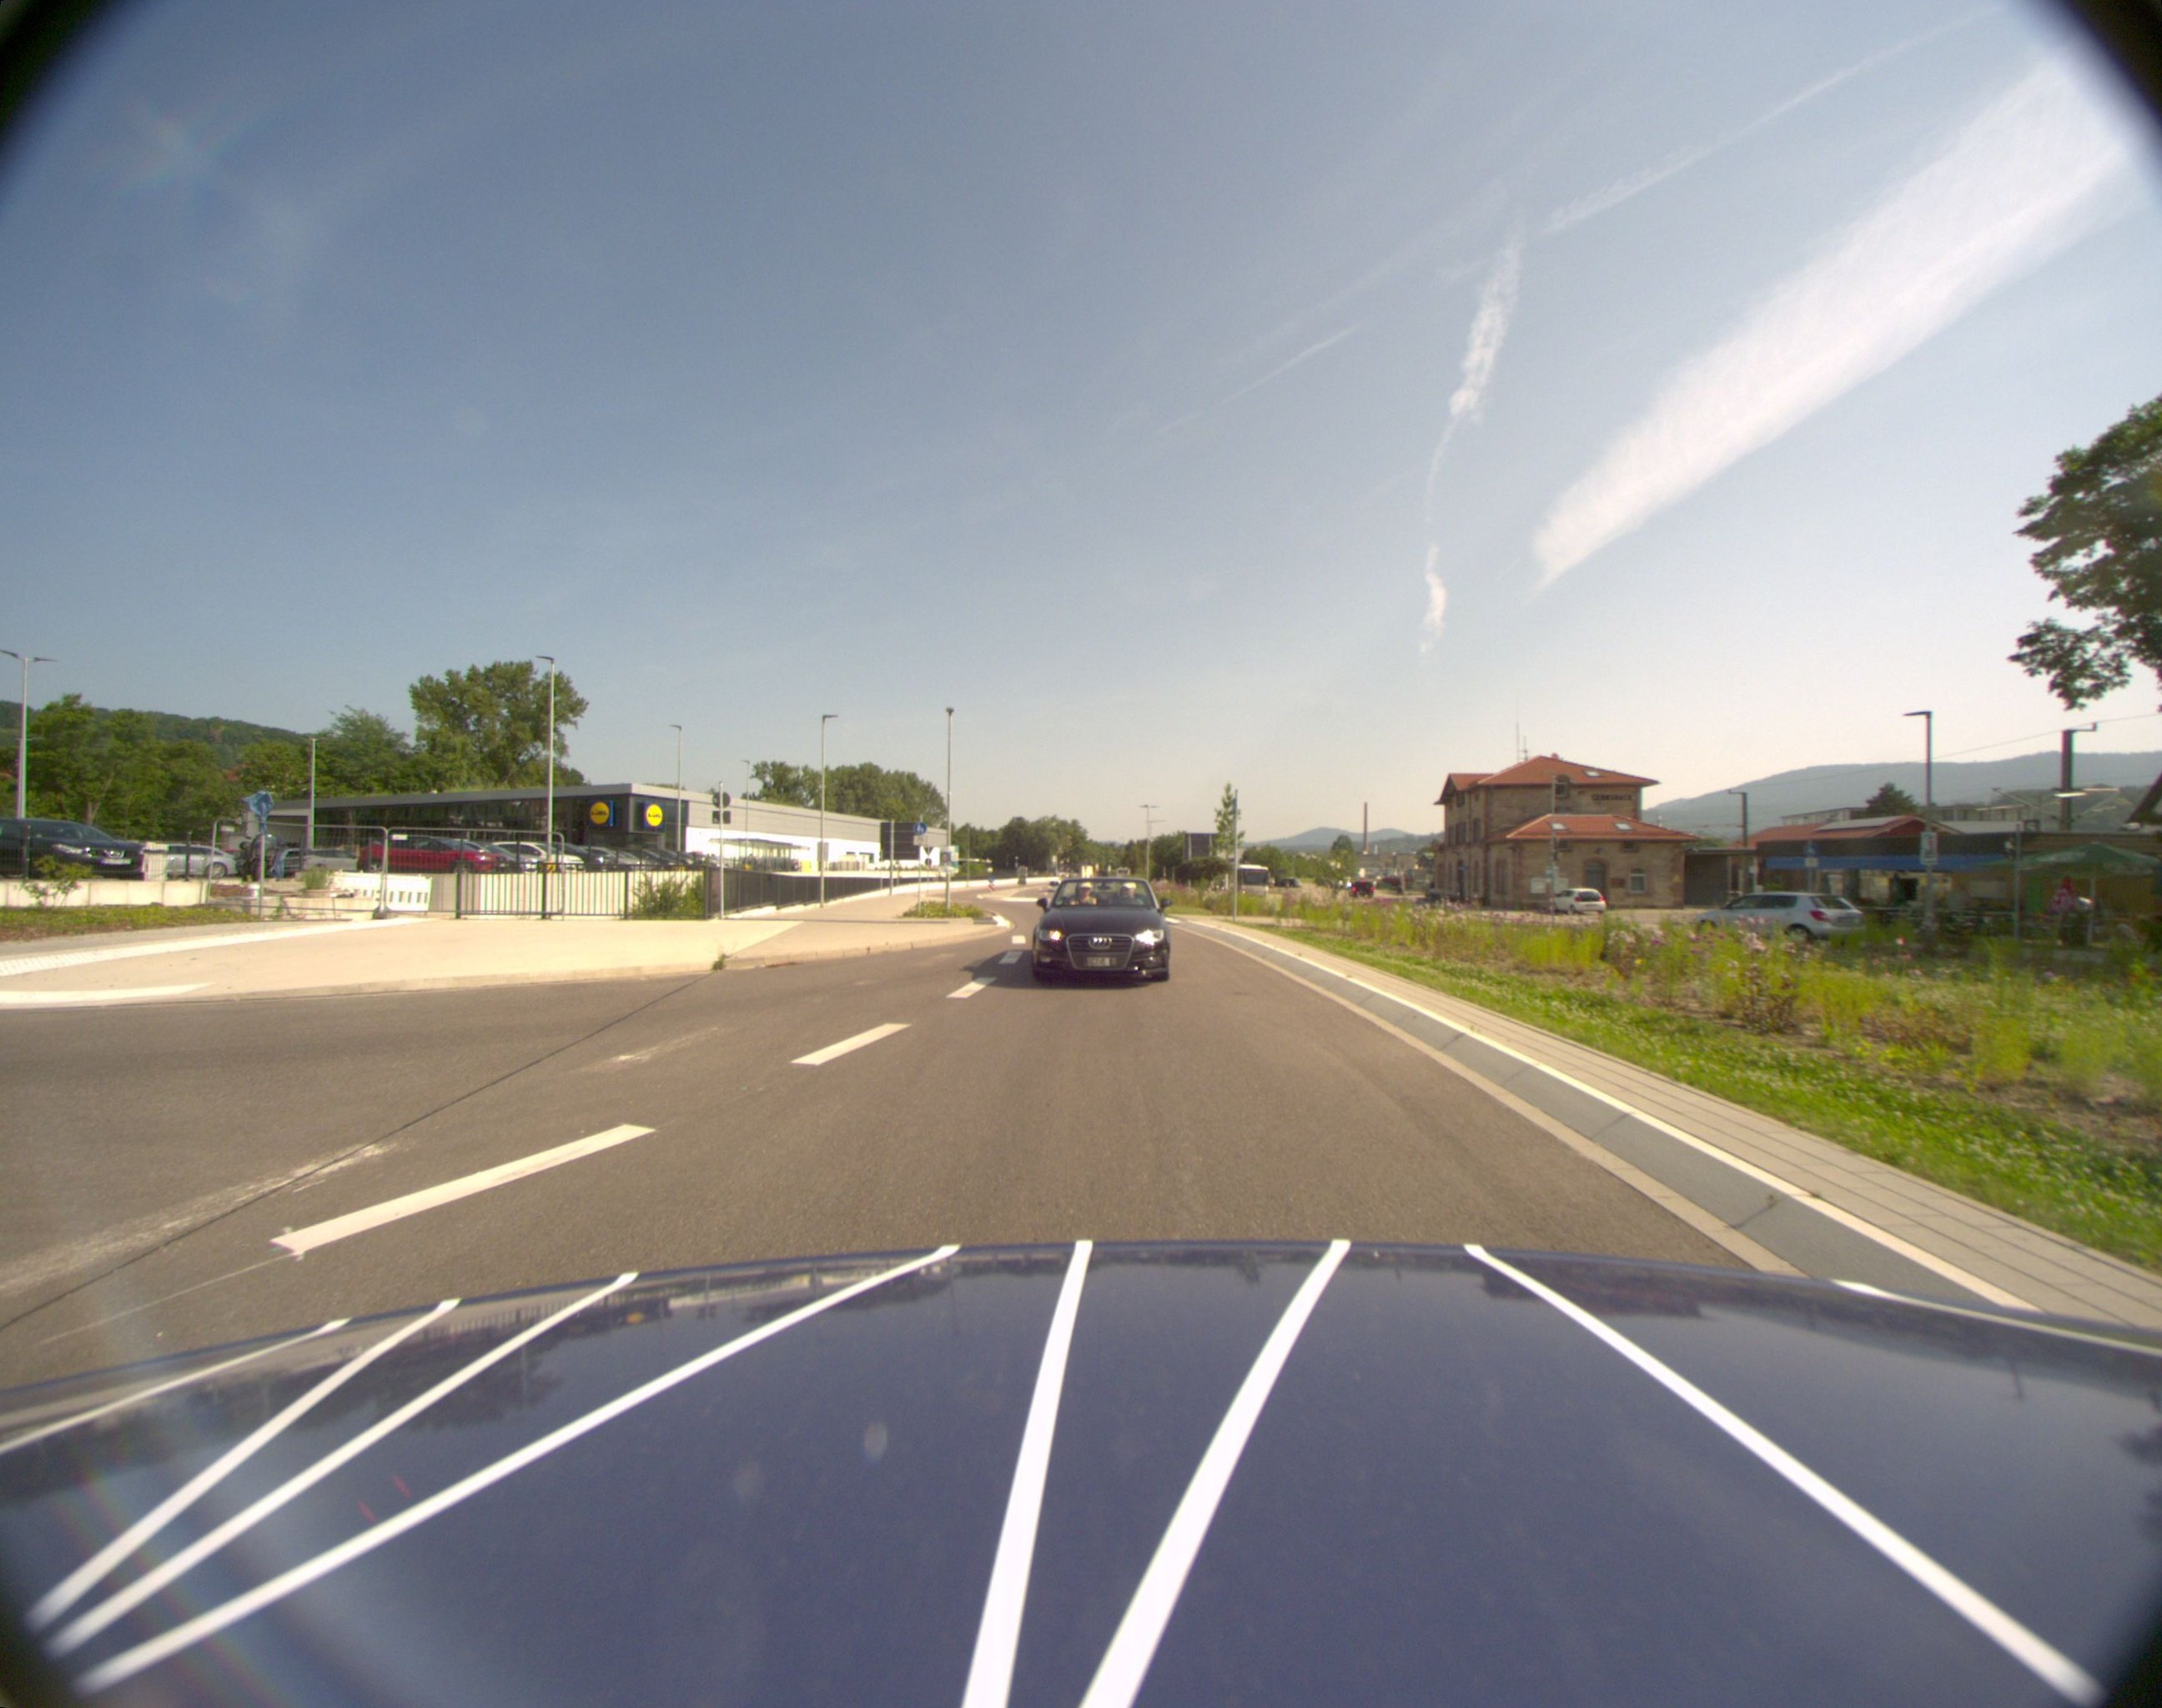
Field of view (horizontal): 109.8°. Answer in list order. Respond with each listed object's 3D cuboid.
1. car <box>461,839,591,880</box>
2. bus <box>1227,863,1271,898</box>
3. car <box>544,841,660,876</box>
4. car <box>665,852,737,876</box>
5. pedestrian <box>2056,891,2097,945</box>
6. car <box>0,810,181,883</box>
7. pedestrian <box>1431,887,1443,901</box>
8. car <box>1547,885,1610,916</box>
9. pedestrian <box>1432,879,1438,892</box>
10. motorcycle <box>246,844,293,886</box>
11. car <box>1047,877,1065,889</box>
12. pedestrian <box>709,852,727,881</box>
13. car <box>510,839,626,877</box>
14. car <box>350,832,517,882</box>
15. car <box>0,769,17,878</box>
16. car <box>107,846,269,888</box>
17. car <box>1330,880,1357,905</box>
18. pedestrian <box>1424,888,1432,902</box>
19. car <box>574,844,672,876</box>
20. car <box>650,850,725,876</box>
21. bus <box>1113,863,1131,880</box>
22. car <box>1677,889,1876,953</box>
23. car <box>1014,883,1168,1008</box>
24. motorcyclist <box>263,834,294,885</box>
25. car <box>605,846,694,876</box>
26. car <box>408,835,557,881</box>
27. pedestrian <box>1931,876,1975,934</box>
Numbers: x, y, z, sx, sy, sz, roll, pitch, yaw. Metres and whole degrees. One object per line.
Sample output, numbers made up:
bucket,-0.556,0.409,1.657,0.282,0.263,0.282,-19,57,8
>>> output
car,-22.957,0.246,31.583,4.001,1.564,1.702,-1,-1,-12
bus,16.996,2.648,77.487,2.586,3.308,10.594,-2,-1,3
car,-23.262,0.240,37.067,4.417,1.564,1.702,-1,-1,-12
car,-26.463,0.692,53.044,4.133,1.564,1.702,-1,-1,-12
pedestrian,30.552,1.949,23.324,0.651,1.580,0.567,-1,-1,-21
car,-25.397,-0.133,18.870,4.470,1.592,1.834,-2,-1,8
pedestrian,29.429,3.292,62.836,0.789,1.155,0.507,-2,-1,14
car,29.016,2.676,44.450,1.677,1.559,3.653,-2,0,8
pedestrian,32.196,2.897,69.131,0.371,1.155,0.507,-2,-1,14
motorcycle,-24.161,0.350,22.611,1.898,1.184,0.592,-2,-2,32
car,-3.019,3.467,91.072,1.782,1.389,3.998,-2,-1,-7
pedestrian,-26.098,0.908,54.592,0.832,2.001,0.863,-2,-1,4
car,-23.165,0.179,34.444,4.001,1.564,1.702,-1,-1,-12
car,-22.300,0.109,26.313,4.022,1.564,1.778,-1,-1,-9
car,-26.632,-0.585,16.165,6.083,2.369,2.062,-2,-1,8
car,-37.345,0.553,31.943,1.998,1.608,4.001,-2,-1,2
car,23.670,3.439,68.357,1.974,1.953,5.166,-2,-1,22
pedestrian,29.721,3.511,65.133,0.511,1.155,0.507,-2,-1,14
car,-23.829,0.315,39.675,4.001,1.564,1.702,-1,-1,-12
car,-25.762,0.600,49.834,4.001,1.564,1.702,-1,-1,-12
bus,7.900,3.428,146.806,2.866,3.172,9.124,-1,-1,7
car,19.761,1.854,21.839,1.676,1.522,3.996,2,-1,-10
car,0.285,1.116,10.638,1.720,1.314,4.226,-1,-1,5
motorcyclist,-24.502,0.178,23.208,0.515,1.533,0.581,-1,-1,-32
car,-24.265,0.400,42.863,4.001,1.564,1.702,-1,-1,-12
car,-22.386,0.162,28.578,4.022,1.564,1.778,-1,-1,-9
pedestrian,30.882,1.791,26.910,0.859,2.001,0.708,-1,-1,-21
